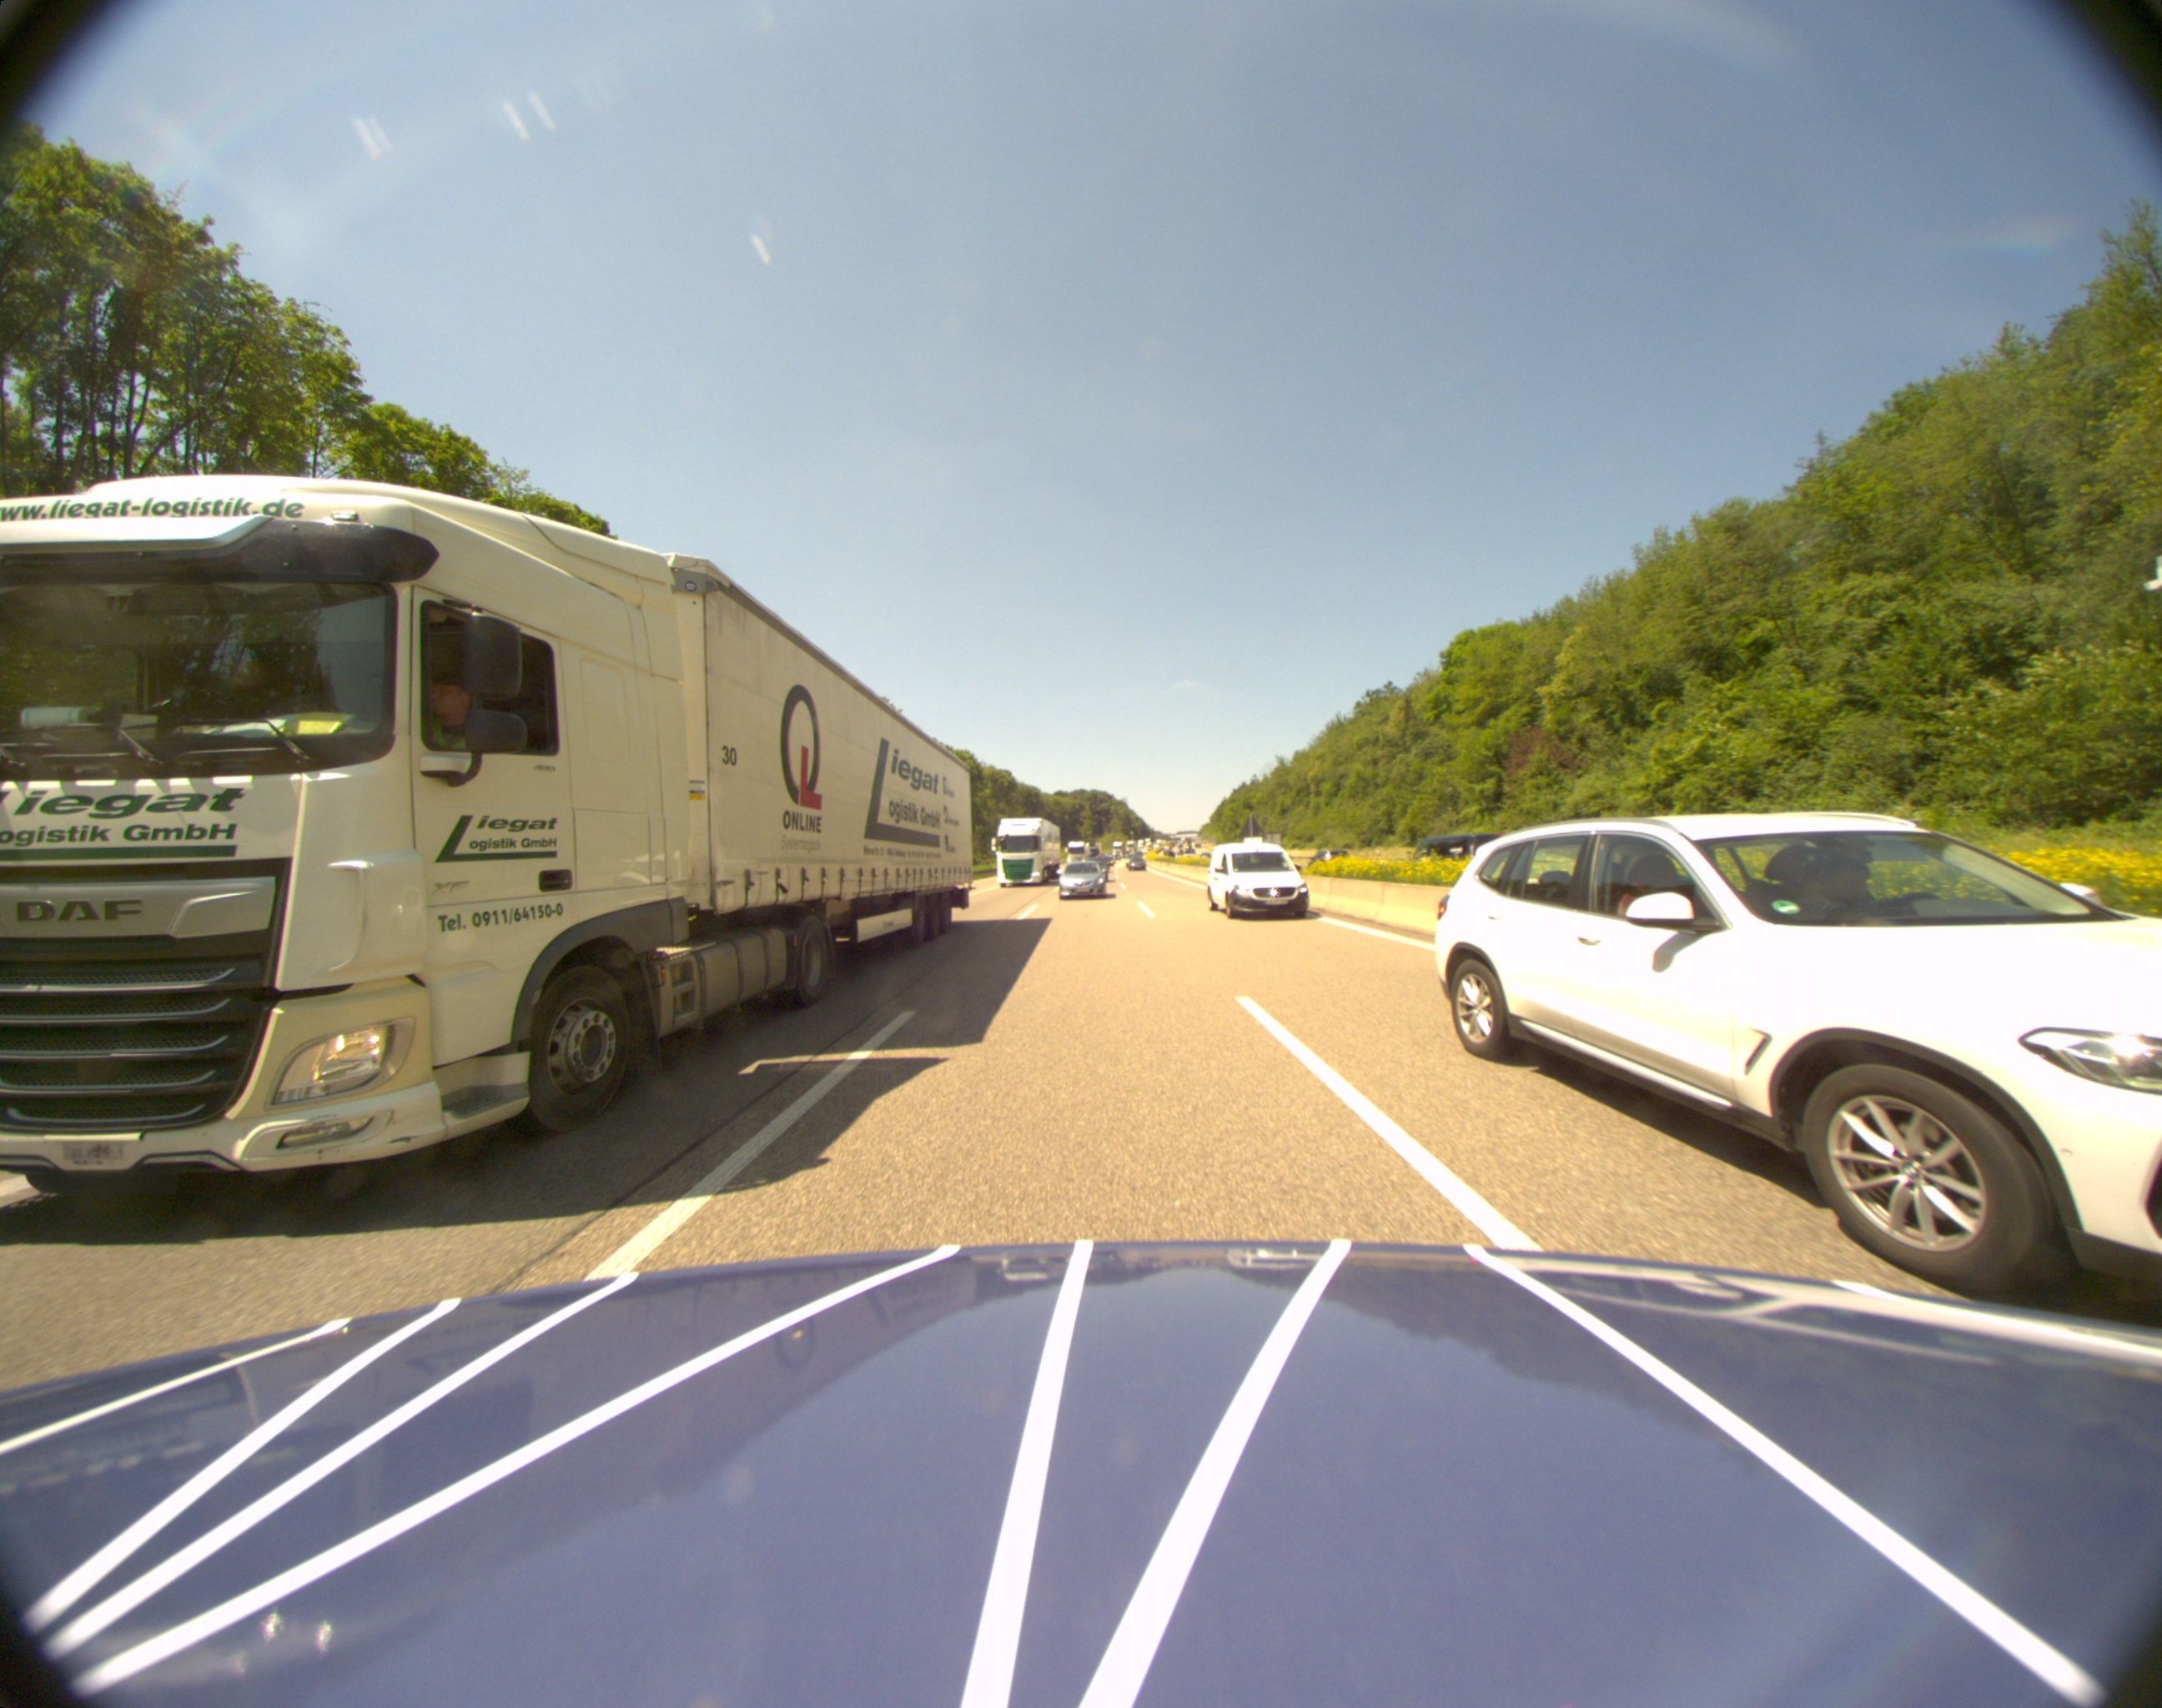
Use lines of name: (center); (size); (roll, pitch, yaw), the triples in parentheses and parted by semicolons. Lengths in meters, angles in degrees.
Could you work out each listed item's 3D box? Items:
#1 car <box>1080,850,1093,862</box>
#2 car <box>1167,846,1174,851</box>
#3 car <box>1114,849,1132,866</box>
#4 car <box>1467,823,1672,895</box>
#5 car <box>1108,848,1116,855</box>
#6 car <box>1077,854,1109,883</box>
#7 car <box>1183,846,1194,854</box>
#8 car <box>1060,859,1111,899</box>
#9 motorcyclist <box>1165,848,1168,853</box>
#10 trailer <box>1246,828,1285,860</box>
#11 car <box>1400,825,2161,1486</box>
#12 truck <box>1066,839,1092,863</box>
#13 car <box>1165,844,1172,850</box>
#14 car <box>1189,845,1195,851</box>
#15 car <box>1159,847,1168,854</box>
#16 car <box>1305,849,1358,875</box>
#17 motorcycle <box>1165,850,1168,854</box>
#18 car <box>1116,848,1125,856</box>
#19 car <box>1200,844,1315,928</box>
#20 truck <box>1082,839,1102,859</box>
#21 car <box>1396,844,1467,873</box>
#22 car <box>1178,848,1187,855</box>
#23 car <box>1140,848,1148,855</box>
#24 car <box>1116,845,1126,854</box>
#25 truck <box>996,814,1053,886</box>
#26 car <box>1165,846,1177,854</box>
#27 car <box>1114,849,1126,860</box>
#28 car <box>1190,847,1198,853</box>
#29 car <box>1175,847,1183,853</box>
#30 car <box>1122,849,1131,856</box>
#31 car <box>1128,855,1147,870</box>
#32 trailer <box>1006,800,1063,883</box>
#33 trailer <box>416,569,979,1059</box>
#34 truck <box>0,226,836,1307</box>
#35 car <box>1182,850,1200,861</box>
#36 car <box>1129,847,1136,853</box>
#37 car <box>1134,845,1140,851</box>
car: (0.921, 0.293, 119.641); (1.924, 1.652, 3.827); (-2, 1, 3)
car: (30.701, -2.006, 261.503); (1.998, 1.543, 4.001); (-2, 0, 3)
car: (5.369, 0.410, 96.670); (1.999, 2.002, 3.999); (-2, 1, 0)
car: (11.589, 0.062, 18.534); (1.998, 1.464, 4.873); (-2, 1, 2)
car: (8.178, -0.628, 200.851); (1.998, 1.728, 4.001); (-2, 1, 5)
car: (0.806, 0.886, 48.306); (1.887, 1.696, 4.084); (-2, 0, 2)
car: (23.513, -0.849, 166.832); (1.953, 1.632, 3.981); (-2, 0, 2)
car: (0.234, 0.974, 31.411); (1.887, 1.458, 4.248); (-2, 0, 2)
motorcyclist: (21.000, -0.839, 187.127); (0.624, 1.326, 0.577); (-2, 1, 2)
trailer: (26.161, -1.492, 108.492); (2.721, 4.183, 13.932); (-2, 1, 3)
car: (3.666, 0.752, 3.941); (1.869, 1.684, 4.955); (-2, 0, 0)
truck: (-0.262, -0.482, 108.757); (3.262, 3.337, 6.863); (-2, 1, 2)
car: (28.197, -2.220, 246.011); (1.998, 2.002, 4.900); (-2, 1, 3)
car: (36.354, -2.050, 248.991); (1.636, 2.002, 4.001); (-2, 1, 7)
car: (22.458, -0.979, 206.831); (1.998, 1.740, 4.000); (-2, 0, 3)
car: (15.494, 0.462, 47.246); (1.998, 1.477, 4.000); (-2, 1, 1)
motorcycle: (21.039, -0.458, 187.079); (0.625, 1.027, 1.467); (-2, 0, 2)
car: (8.971, -0.463, 172.146); (1.998, 1.728, 4.000); (-2, 1, 3)
car: (4.291, 0.705, 19.203); (1.769, 1.802, 4.674); (-2, 0, 0)
truck: (2.251, -1.008, 148.038); (3.558, 3.695, 7.551); (-2, 1, 2)
car: (19.364, 0.219, 42.187); (1.998, 1.434, 4.171); (-2, 1, 1)
car: (26.555, -0.594, 198.838); (1.998, 1.718, 4.000); (-2, 0, 3)
car: (15.348, -0.594, 184.902); (1.998, 1.426, 4.001); (-2, 0, 5)
car: (12.496, -1.393, 237.241); (2.697, 2.467, 6.585); (-2, 1, 5)
truck: (-3.289, -0.270, 46.022); (2.541, 4.006, 6.625); (-2, 1, 3)
car: (18.890, -0.764, 159.799); (1.998, 1.668, 4.081); (-2, 0, 2)
car: (6.819, 0.087, 132.546); (1.998, 1.728, 4.000); (-2, 1, 3)
car: (31.228, -1.012, 210.579); (1.997, 1.499, 4.002); (-1, 0, 6)
car: (29.838, -1.302, 231.890); (1.998, 1.740, 4.000); (-2, 0, 3)
car: (11.977, -0.472, 199.586); (1.998, 1.728, 4.001); (-2, 1, 5)
car: (5.770, 0.827, 78.170); (1.720, 1.470, 4.000); (-2, 0, 1)
trailer: (-3.065, -0.896, 54.446); (2.574, 5.011, 15.270); (-2, 1, 1)
trailer: (-4.252, -0.272, 13.277); (2.793, 4.180, 13.245); (-2, -1, 1)
truck: (-4.373, -0.277, 5.915); (2.793, 4.180, 5.870); (-2, 0, 1)
car: (14.339, 0.184, 99.227); (1.627, 1.378, 4.137); (-2, 0, 0)
car: (15.502, -1.208, 227.361); (1.998, 1.728, 4.001); (-2, 1, 5)
car: (19.218, -2.121, 261.624); (1.998, 1.728, 4.001); (-2, 1, 5)
